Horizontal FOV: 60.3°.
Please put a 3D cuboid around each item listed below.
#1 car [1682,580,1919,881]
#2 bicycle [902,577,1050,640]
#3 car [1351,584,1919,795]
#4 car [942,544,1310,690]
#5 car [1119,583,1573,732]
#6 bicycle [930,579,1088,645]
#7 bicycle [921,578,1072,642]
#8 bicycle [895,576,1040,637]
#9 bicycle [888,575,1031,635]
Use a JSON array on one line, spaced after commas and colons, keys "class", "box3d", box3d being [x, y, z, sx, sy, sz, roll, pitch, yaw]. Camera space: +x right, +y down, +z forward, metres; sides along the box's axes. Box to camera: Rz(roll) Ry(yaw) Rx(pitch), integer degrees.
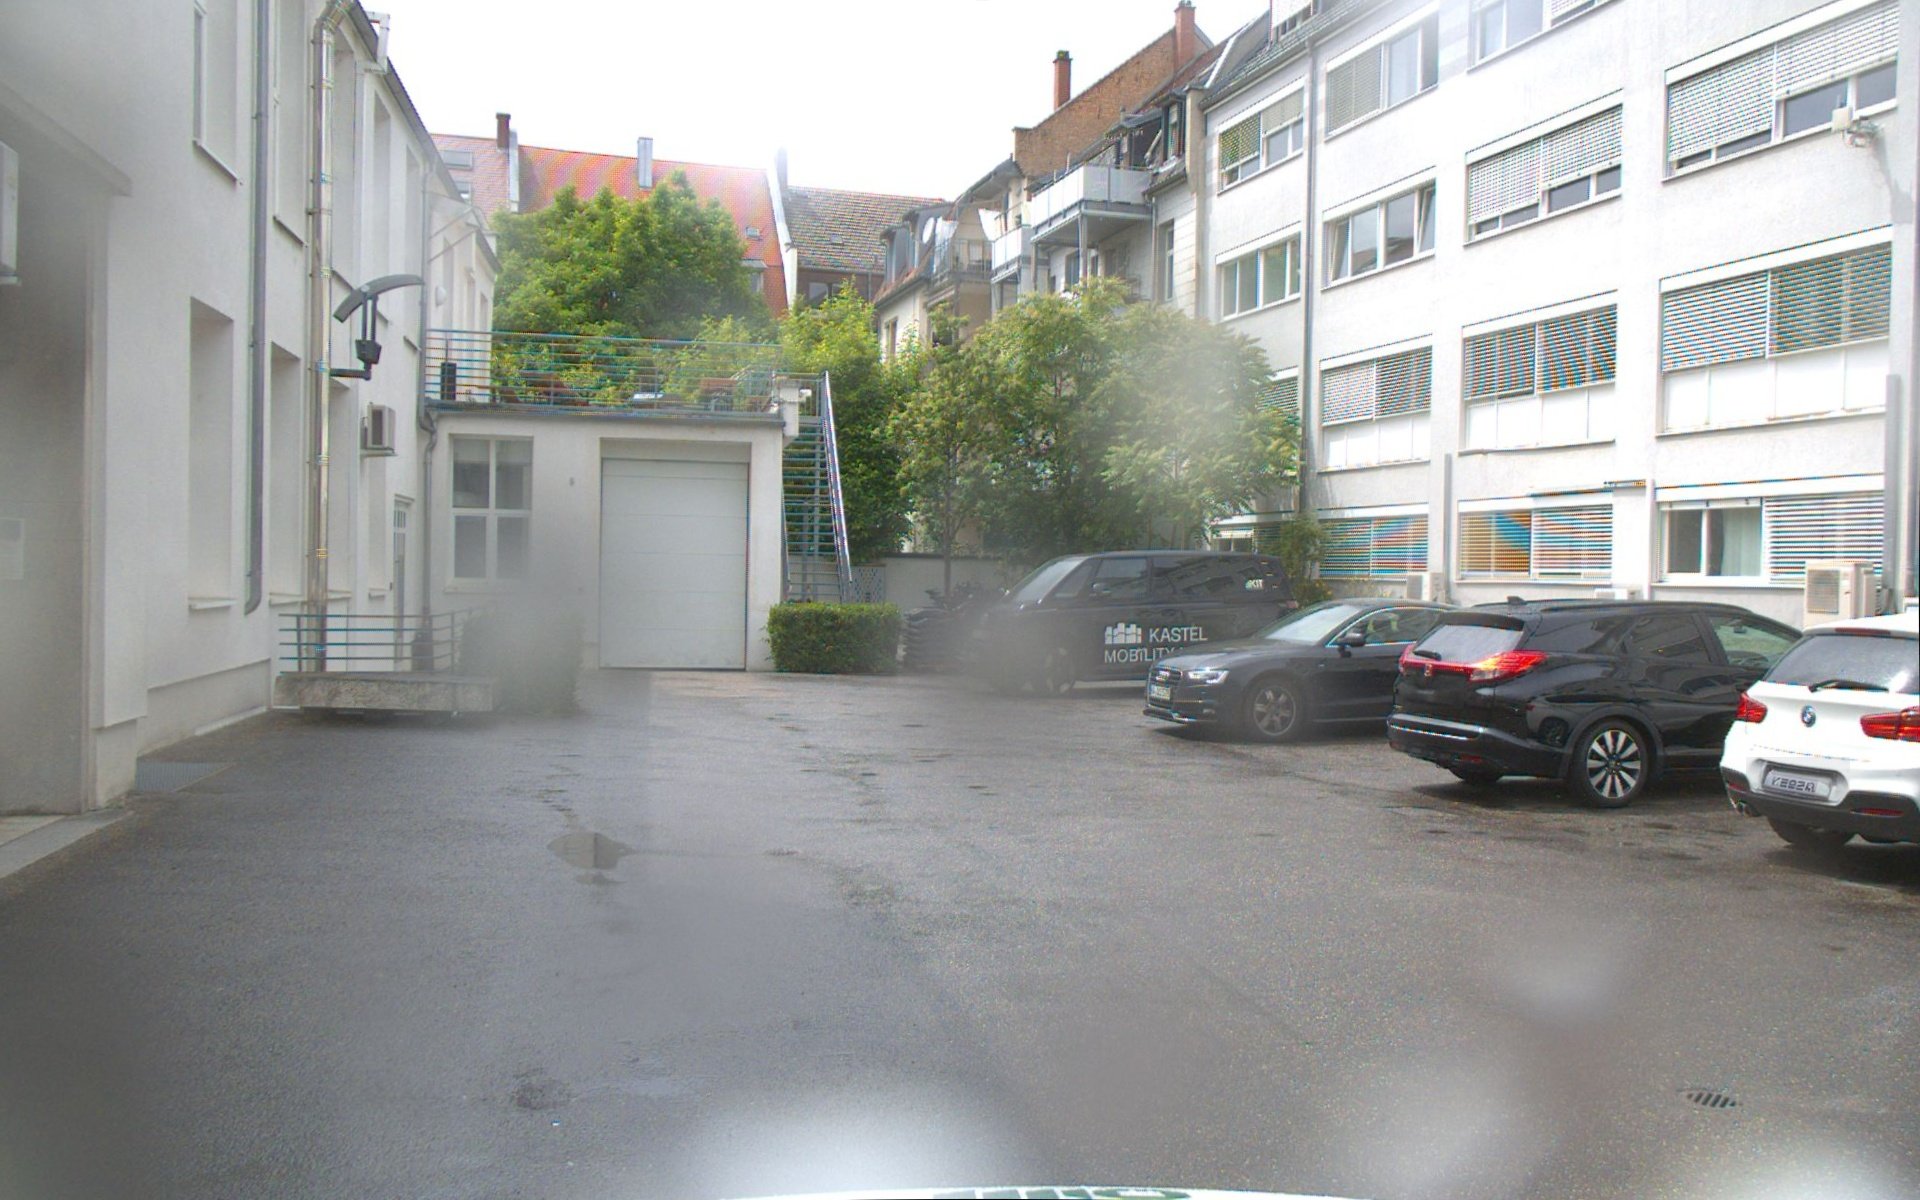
[{"class": "car", "box3d": [6.498, 0.634, 9.569, 4.030, 1.480, 1.826, 0, 1, -16]}, {"class": "bicycle", "box3d": [0.313, 0.160, 32.530, 2.795, 1.097, 0.687, 2, 1, -14]}, {"class": "car", "box3d": [5.326, 0.597, 12.812, 4.105, 1.425, 1.930, 0, 1, -18]}, {"class": "car", "box3d": [2.255, 0.180, 22.796, 4.636, 1.865, 2.100, 0, 1, -18]}, {"class": "car", "box3d": [3.991, 0.550, 17.237, 4.286, 1.372, 1.851, 0, 2, -18]}, {"class": "bicycle", "box3d": [0.924, 0.232, 31.142, 2.874, 1.097, 0.687, 2, 1, -14]}, {"class": "bicycle", "box3d": [0.711, 0.199, 31.889, 2.795, 1.097, 0.687, 2, 1, -14]}, {"class": "bicycle", "box3d": [0.152, 0.131, 33.223, 2.795, 1.097, 0.687, 2, 1, -14]}, {"class": "bicycle", "box3d": [-0.010, 0.104, 33.909, 2.795, 1.097, 0.687, 2, 1, -14]}]
